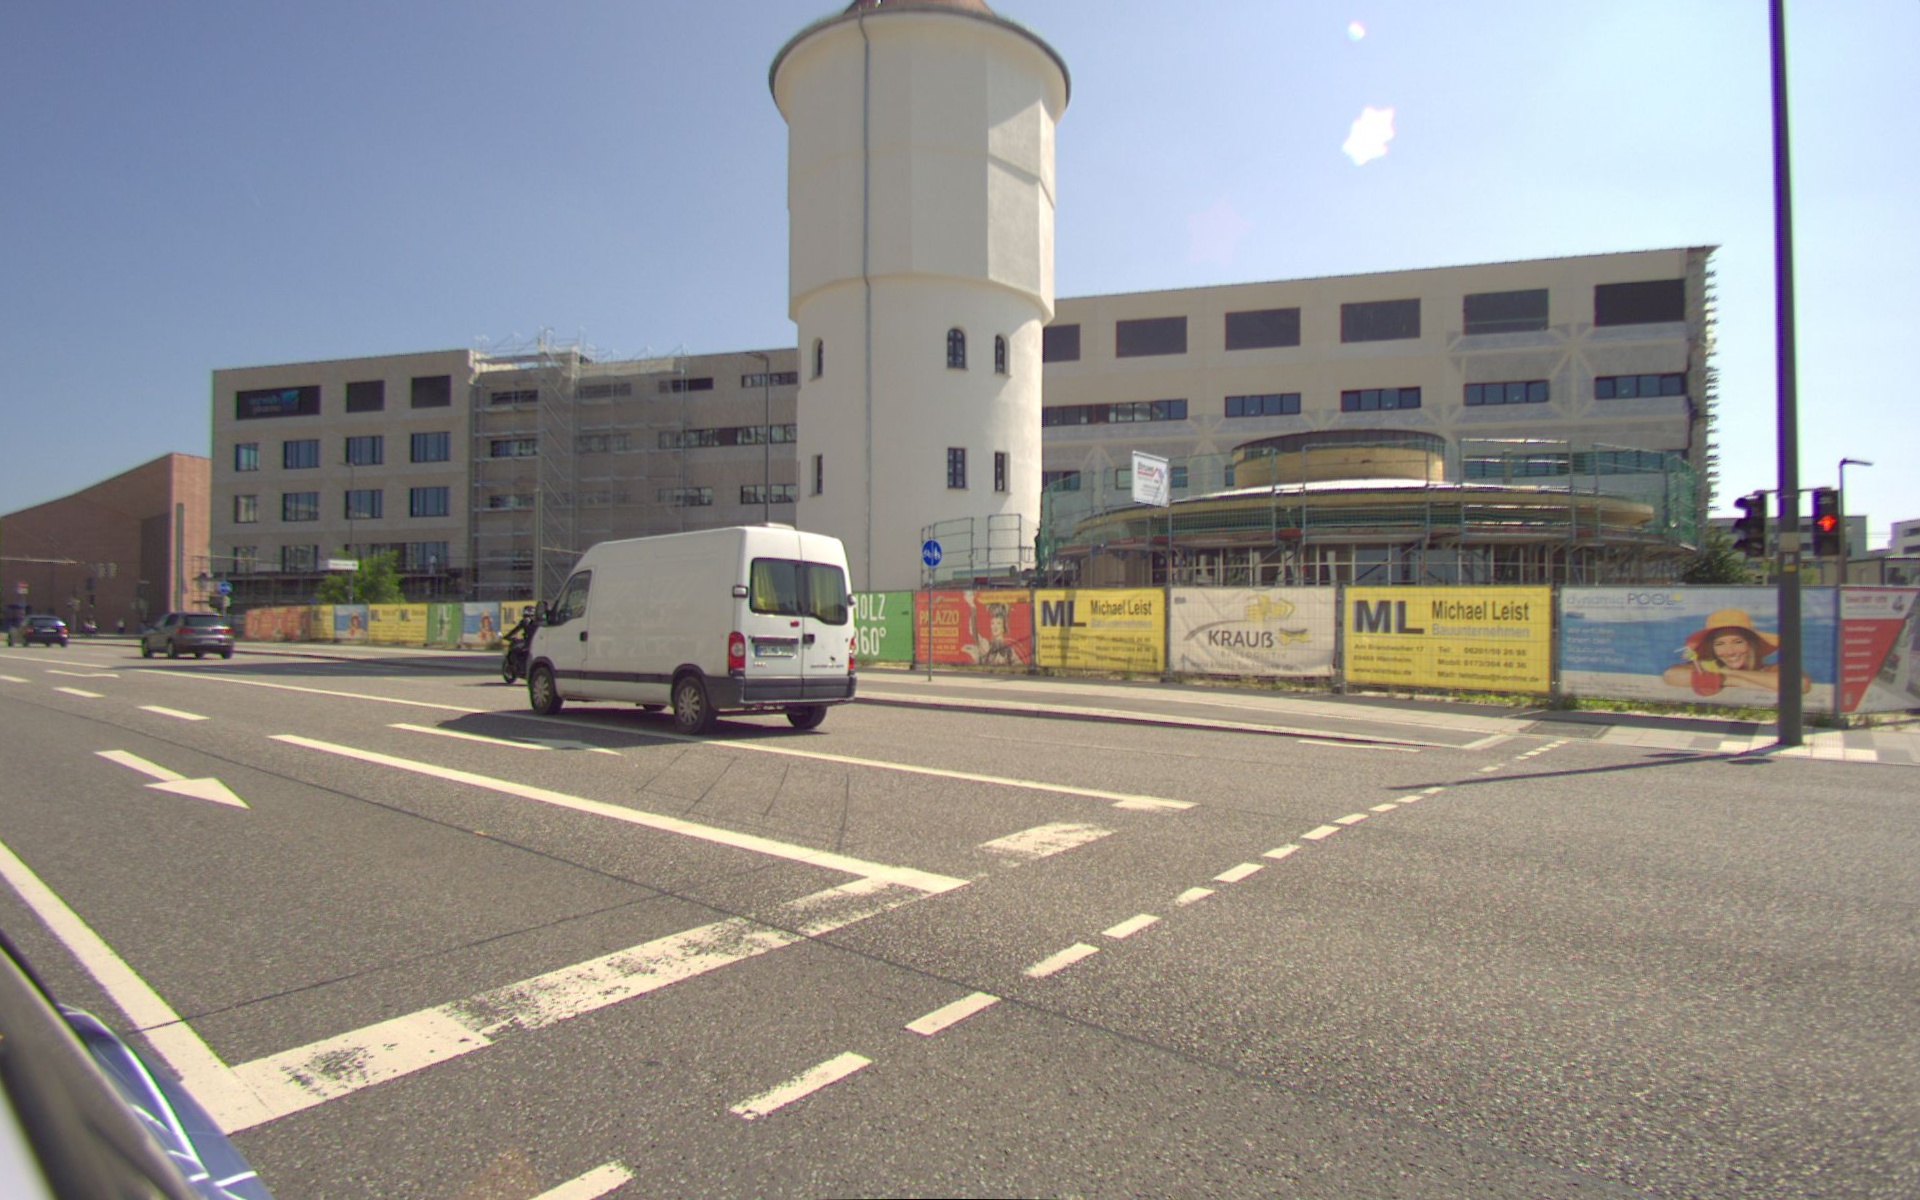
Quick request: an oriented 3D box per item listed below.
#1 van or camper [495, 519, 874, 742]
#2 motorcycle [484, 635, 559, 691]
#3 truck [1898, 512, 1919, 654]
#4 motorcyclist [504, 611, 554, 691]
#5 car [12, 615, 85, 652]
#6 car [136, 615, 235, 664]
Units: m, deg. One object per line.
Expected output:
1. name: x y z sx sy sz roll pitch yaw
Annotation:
1. van or camper: -3.924 0.396 13.721 5.679 2.432 2.130 -1 -3 41
2. motorcycle: -9.586 1.355 22.102 2.214 1.112 0.578 0 -3 42
3. truck: 29.418 -0.487 28.241 3.338 4.307 10.819 0 1 35
4. motorcyclist: -9.317 1.088 21.869 0.927 1.672 0.612 0 -2 41
5. car: -41.768 1.490 46.333 3.996 1.624 1.910 0 -1 40
6. car: -27.378 1.370 35.752 3.965 1.602 1.780 0 -3 38
